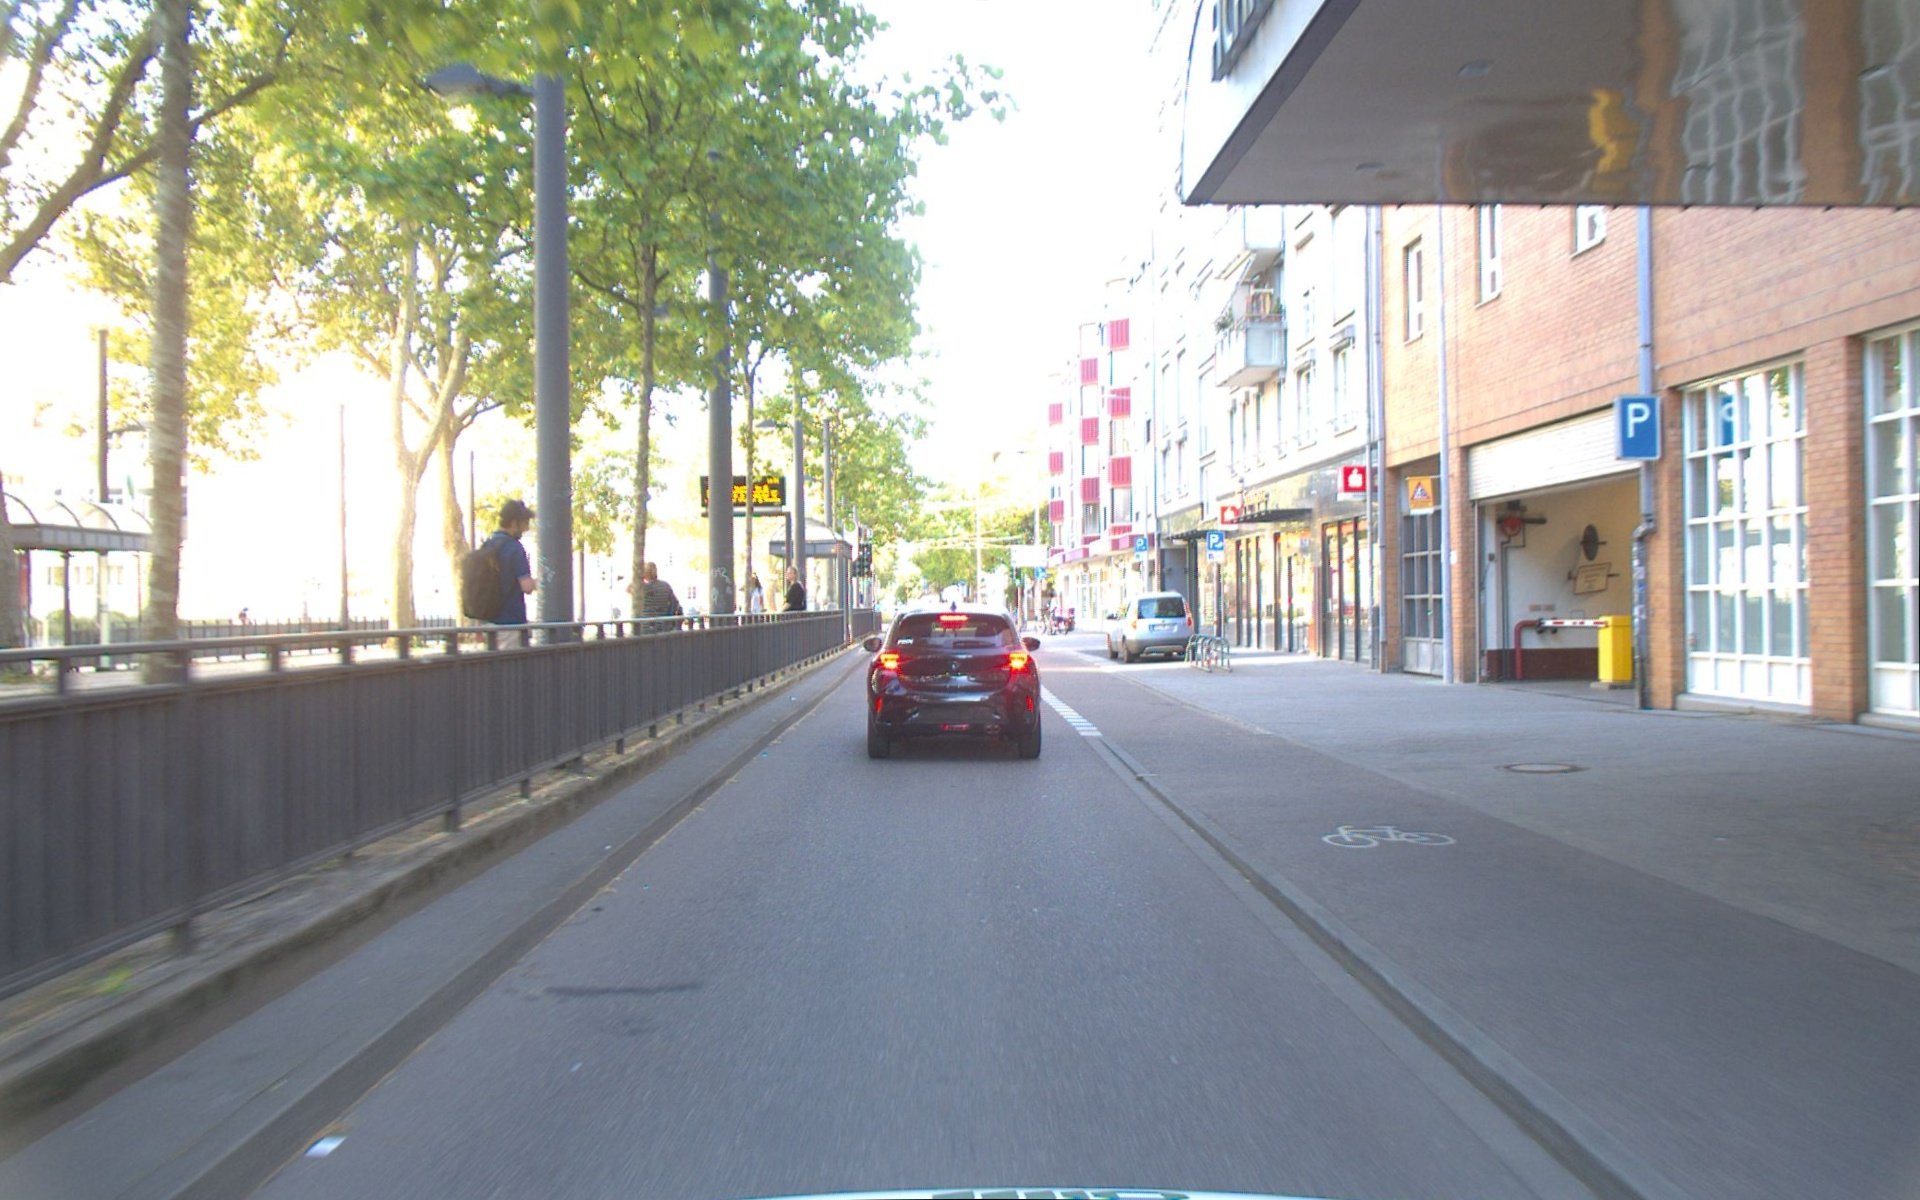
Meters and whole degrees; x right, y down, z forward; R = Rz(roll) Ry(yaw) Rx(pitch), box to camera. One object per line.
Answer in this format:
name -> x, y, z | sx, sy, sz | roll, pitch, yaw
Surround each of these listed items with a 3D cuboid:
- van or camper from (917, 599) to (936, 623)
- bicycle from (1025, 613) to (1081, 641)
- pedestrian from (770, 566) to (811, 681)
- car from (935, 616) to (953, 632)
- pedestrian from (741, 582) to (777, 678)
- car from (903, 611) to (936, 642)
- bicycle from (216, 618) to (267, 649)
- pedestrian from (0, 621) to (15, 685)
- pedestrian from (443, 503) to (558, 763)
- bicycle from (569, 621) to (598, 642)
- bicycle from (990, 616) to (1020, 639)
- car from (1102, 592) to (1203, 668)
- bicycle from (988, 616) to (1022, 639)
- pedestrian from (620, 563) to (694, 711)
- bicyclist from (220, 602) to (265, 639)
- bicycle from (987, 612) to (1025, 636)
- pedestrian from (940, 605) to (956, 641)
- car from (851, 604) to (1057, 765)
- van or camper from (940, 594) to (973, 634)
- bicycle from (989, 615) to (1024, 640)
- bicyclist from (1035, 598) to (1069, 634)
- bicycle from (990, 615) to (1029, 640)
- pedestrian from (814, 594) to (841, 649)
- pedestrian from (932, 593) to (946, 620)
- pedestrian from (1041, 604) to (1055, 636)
van or camper -> -4.322, 1.498, 215.936 | 2.436, 3.046, 5.432 | 1, -1, -1
bicycle -> 4.136, 1.207, 73.649 | 0.955, 1.204, 2.558 | 0, -1, -41
pedestrian -> -2.879, 0.399, 28.155 | 0.633, 1.920, 0.661 | -1, -1, -2
car -> -1.618, 2.420, 169.430 | 1.754, 1.536, 3.872 | -2, -1, -2
pedestrian -> -4.022, 0.597, 33.193 | 0.632, 1.904, 0.753 | 0, -1, -1
car -> -2.213, 1.438, 91.491 | 1.795, 1.651, 4.283 | 0, -1, -1
bicycle -> -24.820, 1.140, 57.202 | 0.784, 1.014, 2.583 | 1, 0, -4
pedestrian -> -30.312, 1.662, 52.109 | 0.593, 2.011, 0.833 | 1, 0, -4
pedestrian -> -3.346, 0.231, 12.103 | 0.693, 1.833, 0.825 | 0, -1, -9
bicycle -> -17.486, 1.459, 76.851 | 0.796, 0.962, 1.726 | -1, 0, 4
bicycle -> 2.389, 1.447, 87.430 | 1.589, 1.220, 0.496 | -1, -1, 2
car -> 4.633, 0.707, 40.308 | 1.796, 1.651, 4.283 | -3, -1, -1
bicycle -> 2.398, 1.464, 88.177 | 1.764, 1.220, 0.546 | -1, -2, 2
pedestrian -> -3.615, 0.441, 19.805 | 0.714, 1.732, 0.863 | 0, -1, 0
bicyclist -> -24.815, 0.701, 57.229 | 0.984, 1.272, 1.373 | 1, 0, -4
bicycle -> 2.375, 1.224, 85.036 | 1.902, 1.191, 0.571 | -1, -1, -5
pedestrian -> -0.588, 1.120, 81.330 | 0.719, 1.777, 0.712 | 0, -1, 3
car -> -0.090, 0.784, 17.249 | 1.866, 1.450, 4.214 | -1, 0, -1
van or camper -> -0.315, 1.195, 142.461 | 2.328, 3.179, 7.546 | -4, -1, -3
bicycle -> 2.452, 1.446, 86.860 | 1.793, 1.242, 0.496 | -1, -1, 1
bicyclist -> 4.111, 0.713, 73.691 | 1.051, 1.567, 1.063 | 0, -1, -42
bicycle -> 2.572, 1.426, 85.997 | 1.939, 1.220, 0.590 | -1, -1, -6
pedestrian -> -3.261, 0.526, 40.755 | 0.613, 1.342, 0.801 | -1, -1, -1
pedestrian -> -1.593, 0.516, 126.454 | 1.015, 2.060, 1.211 | 0, -1, -3
pedestrian -> 5.174, 1.176, 97.041 | 0.708, 1.890, 0.800 | -1, -1, -2
